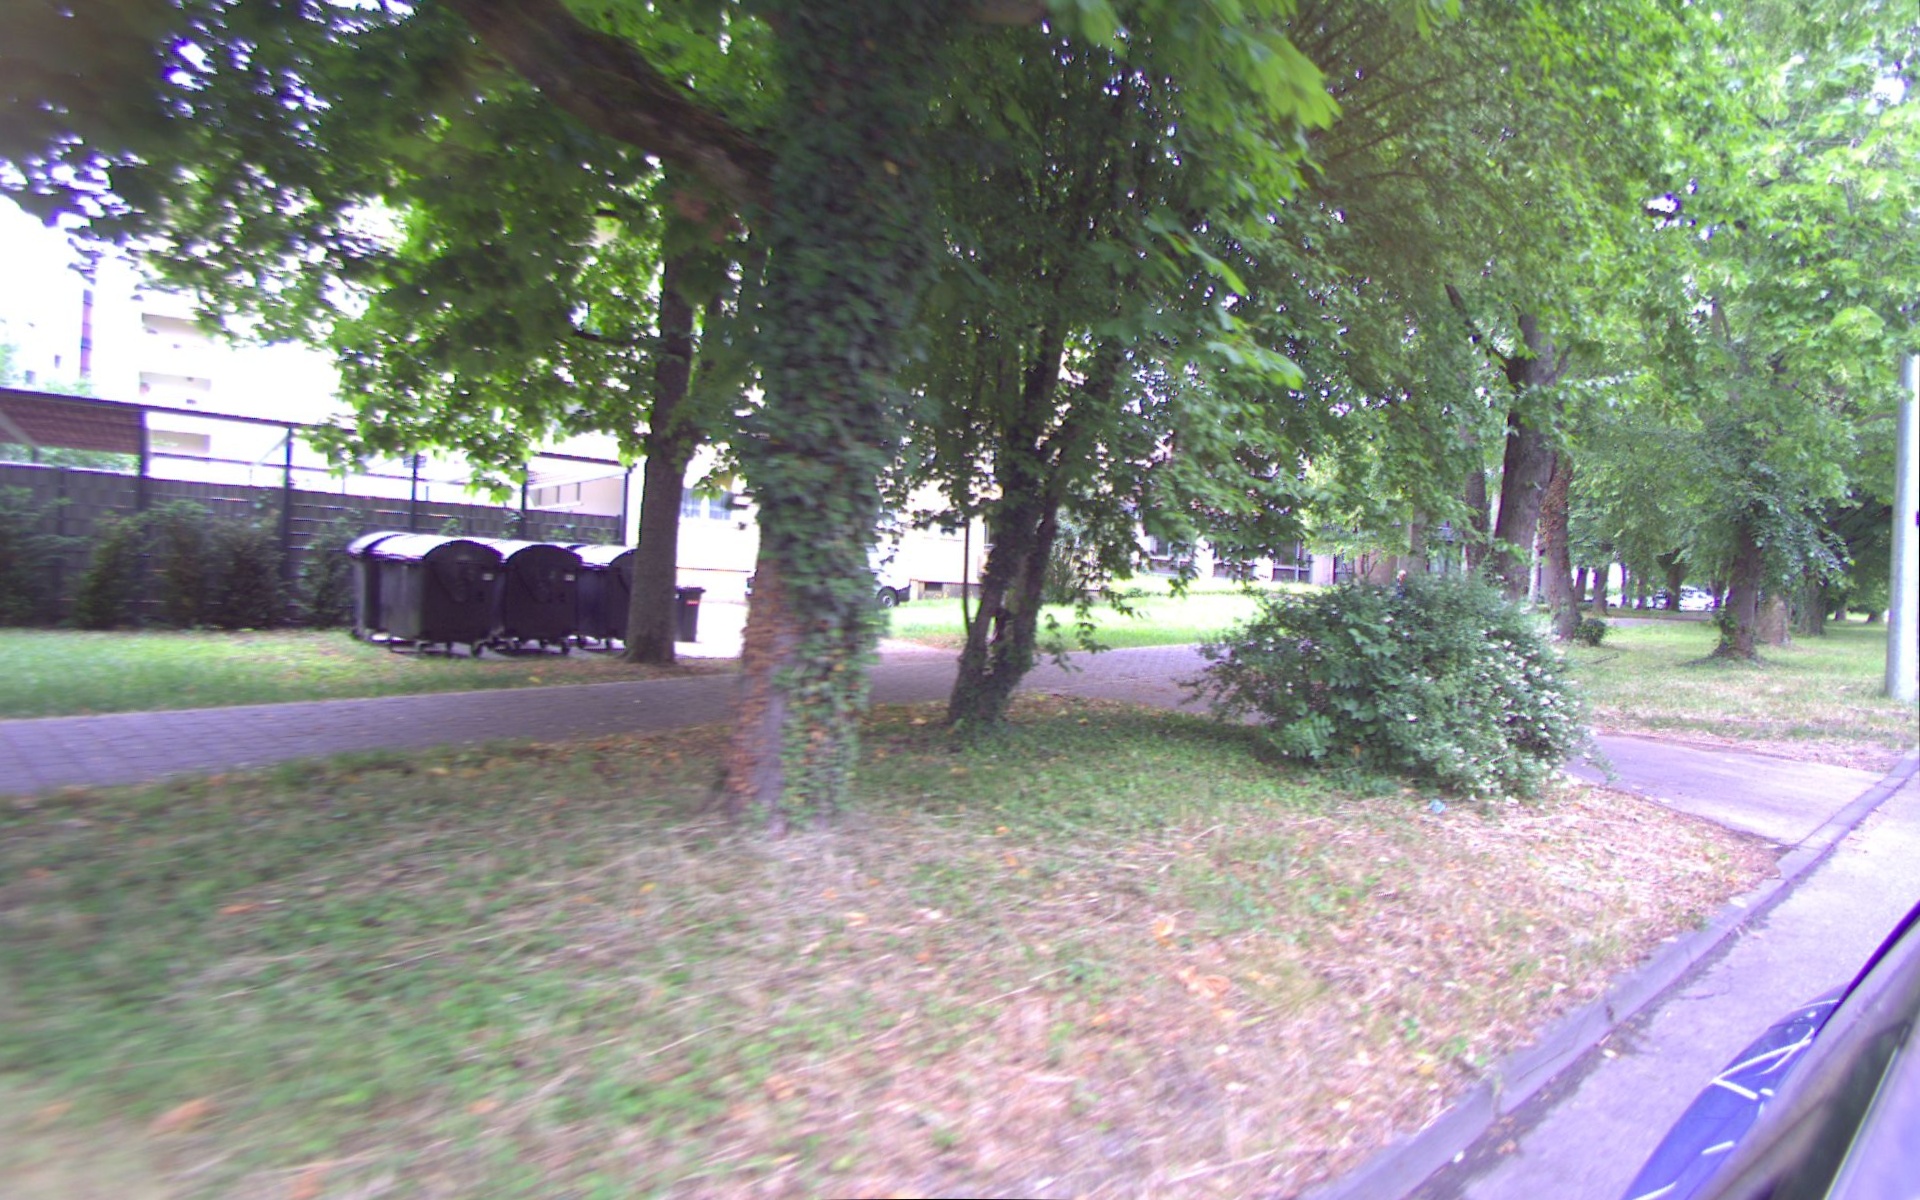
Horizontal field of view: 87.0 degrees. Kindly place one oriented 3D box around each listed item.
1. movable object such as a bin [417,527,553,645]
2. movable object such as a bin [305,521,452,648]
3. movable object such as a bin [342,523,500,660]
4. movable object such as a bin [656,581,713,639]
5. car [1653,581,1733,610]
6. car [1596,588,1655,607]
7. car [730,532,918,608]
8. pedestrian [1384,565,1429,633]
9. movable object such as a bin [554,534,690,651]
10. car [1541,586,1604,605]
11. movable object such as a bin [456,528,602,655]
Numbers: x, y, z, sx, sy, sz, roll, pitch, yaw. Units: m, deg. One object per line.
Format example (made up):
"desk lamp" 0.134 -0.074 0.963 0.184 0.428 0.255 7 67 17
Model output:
"movable object such as a bin" -6.630 -0.215 14.114 1.326 1.519 1.294 4 3 43
"movable object such as a bin" -7.531 -0.225 13.106 1.326 1.519 1.294 4 3 43
"movable object such as a bin" -6.480 -0.128 12.167 1.326 1.519 1.294 4 3 43
"movable object such as a bin" -4.482 0.152 16.451 0.598 0.889 0.658 4 3 43
"car" 65.135 -0.428 90.022 5.241 2.328 2.286 2 1 10
"car" 59.471 -0.237 90.510 3.928 1.529 1.799 2 1 4
"car" -3.826 -0.832 28.925 4.874 1.865 2.093 2 2 -37
"pedestrian" 11.544 -0.040 26.156 0.768 1.707 0.801 4 2 44
"movable object such as a bin" -4.725 -0.126 14.143 1.326 1.519 1.294 4 3 43
"car" 54.763 -0.398 90.502 4.514 1.529 1.801 2 1 -2
"movable object such as a bin" -5.598 -0.136 13.148 1.326 1.519 1.294 4 3 43
